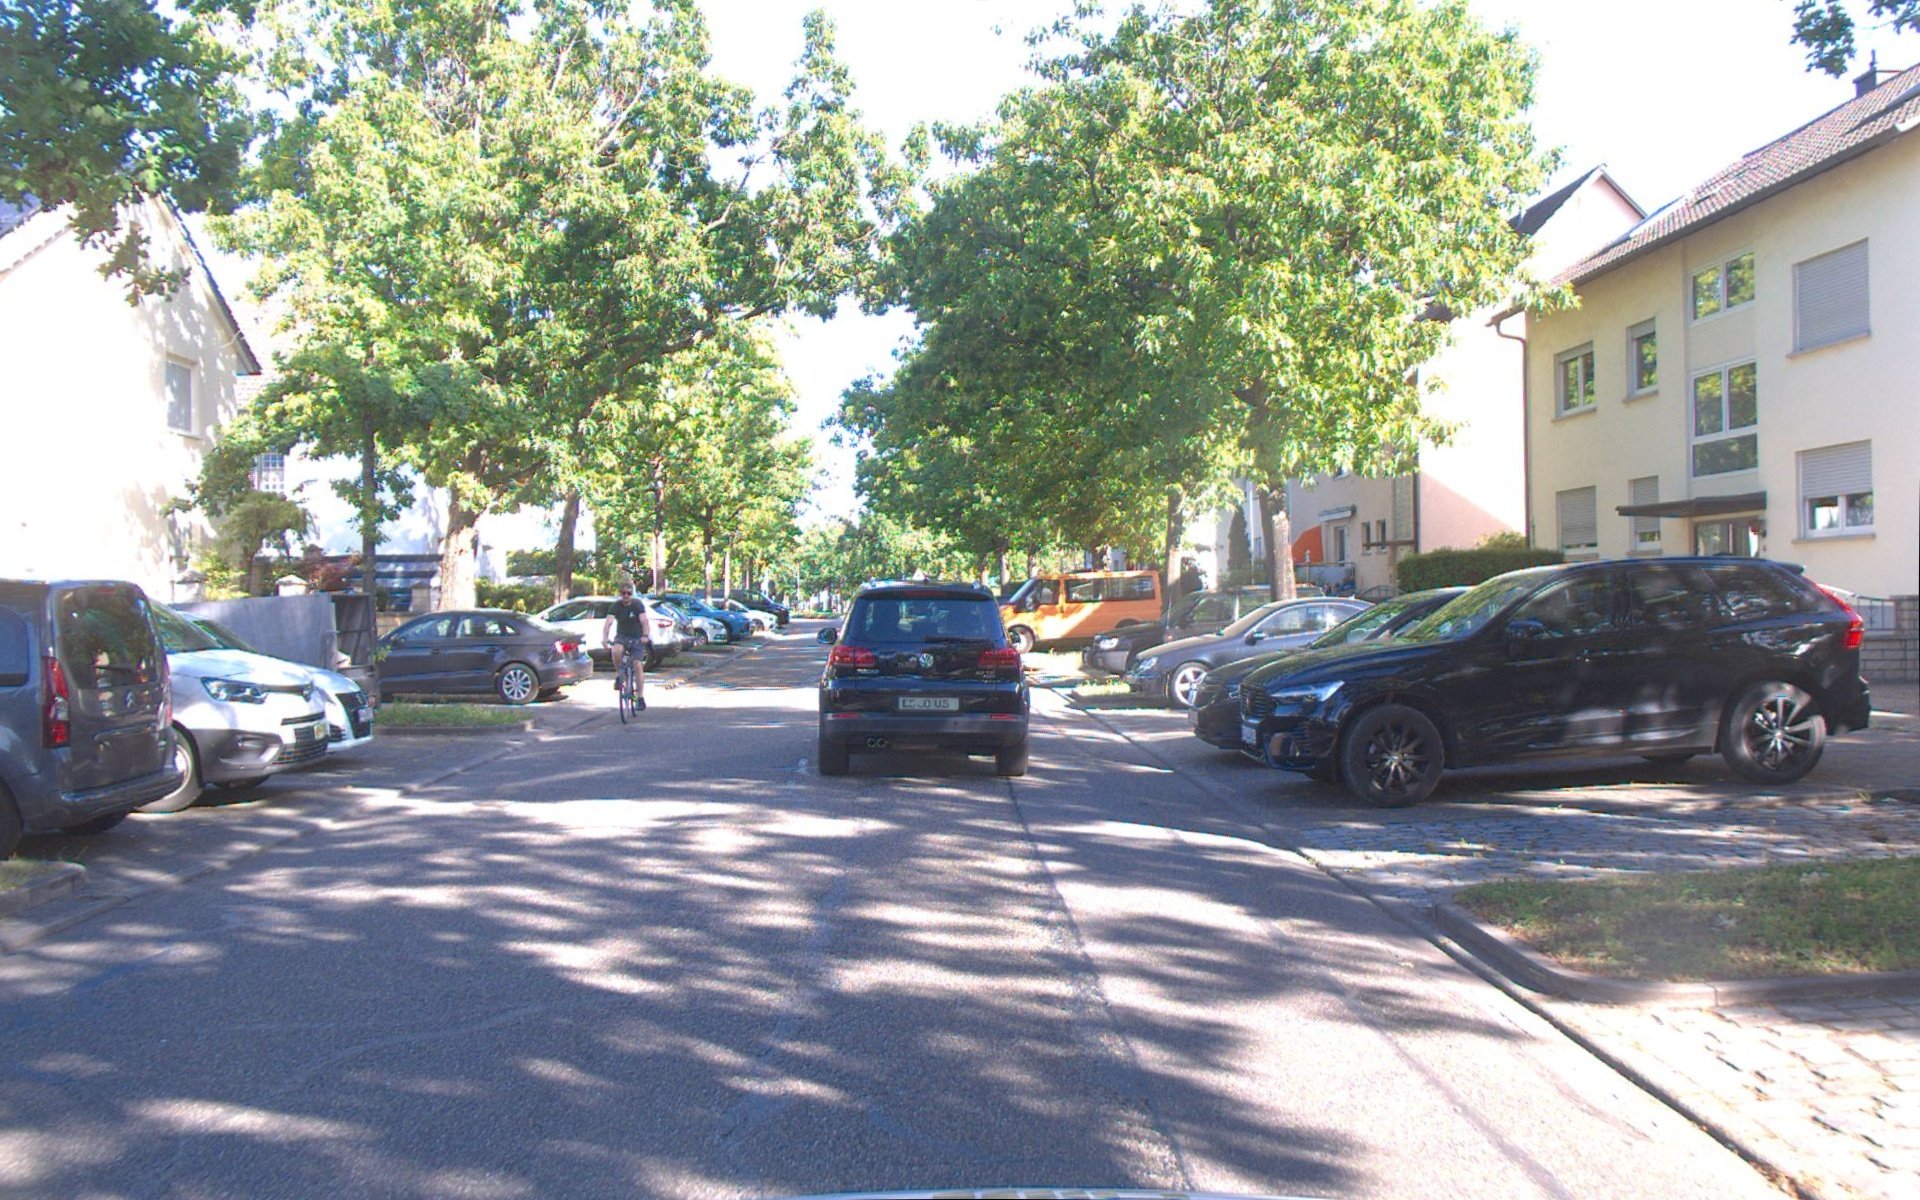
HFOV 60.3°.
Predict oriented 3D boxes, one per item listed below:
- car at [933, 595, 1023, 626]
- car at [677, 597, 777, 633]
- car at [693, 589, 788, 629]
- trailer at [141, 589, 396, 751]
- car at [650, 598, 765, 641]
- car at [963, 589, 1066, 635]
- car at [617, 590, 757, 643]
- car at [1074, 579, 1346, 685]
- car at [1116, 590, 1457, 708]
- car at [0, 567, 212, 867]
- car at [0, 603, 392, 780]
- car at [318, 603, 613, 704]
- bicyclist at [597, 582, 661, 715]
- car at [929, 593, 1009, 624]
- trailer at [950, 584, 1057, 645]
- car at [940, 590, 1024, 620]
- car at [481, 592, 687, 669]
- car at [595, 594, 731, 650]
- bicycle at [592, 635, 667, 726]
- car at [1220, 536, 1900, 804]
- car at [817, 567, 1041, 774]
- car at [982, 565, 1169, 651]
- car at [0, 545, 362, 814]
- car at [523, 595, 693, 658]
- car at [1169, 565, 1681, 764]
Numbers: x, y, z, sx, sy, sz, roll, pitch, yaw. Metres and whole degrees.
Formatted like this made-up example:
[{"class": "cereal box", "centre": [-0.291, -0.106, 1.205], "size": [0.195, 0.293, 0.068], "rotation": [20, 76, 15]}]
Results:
[{"class": "car", "centre": [0.869, 0.500, 82.058], "size": [4.261, 1.386, 1.872], "rotation": [-2, -1, -4]}, {"class": "car", "centre": [-10.150, 0.641, 72.361], "size": [4.191, 1.504, 1.767], "rotation": [0, 0, -4]}, {"class": "car", "centre": [-10.984, 0.444, 83.018], "size": [4.686, 1.950, 2.016], "rotation": [0, 0, -6]}, {"class": "trailer", "centre": [-7.688, 0.750, 18.529], "size": [2.189, 1.703, 1.475], "rotation": [-1, 0, 2]}, {"class": "car", "centre": [-9.440, 0.725, 62.011], "size": [4.099, 1.518, 1.646], "rotation": [-1, -1, -3]}, {"class": "car", "centre": [2.054, 0.435, 63.043], "size": [3.805, 1.542, 1.661], "rotation": [-1, 3, -3]}, {"class": "car", "centre": [-9.180, 0.543, 55.960], "size": [4.434, 1.659, 1.936], "rotation": [-1, 0, -3]}, {"class": "car", "centre": [4.208, 0.525, 28.271], "size": [4.252, 1.587, 1.866], "rotation": [-2, 0, -4]}, {"class": "car", "centre": [4.434, 0.648, 22.907], "size": [4.337, 1.354, 1.690], "rotation": [-3, 0, 0]}, {"class": "car", "centre": [-7.409, 0.672, 10.764], "size": [4.155, 1.801, 1.965], "rotation": [1, 0, -5]}, {"class": "car", "centre": [-7.710, 0.841, 15.894], "size": [3.907, 1.543, 1.689], "rotation": [-1, 0, -3]}, {"class": "car", "centre": [-7.673, 0.816, 25.924], "size": [4.126, 1.497, 1.689], "rotation": [0, 0, -3]}, {"class": "bicyclist", "centre": [-4.435, 0.636, 22.184], "size": [0.584, 1.703, 0.975], "rotation": [-3, 0, -1]}, {"class": "car", "centre": [0.472, 0.447, 89.737], "size": [4.192, 1.529, 1.795], "rotation": [-2, 0, -4]}, {"class": "trailer", "centre": [1.250, 0.416, 48.741], "size": [2.891, 1.693, 1.611], "rotation": [-1, 0, -9]}, {"class": "car", "centre": [1.108, 0.248, 84.916], "size": [4.192, 1.439, 1.795], "rotation": [-2, 0, -4]}, {"class": "car", "centre": [-8.183, 0.653, 36.295], "size": [4.102, 1.594, 1.791], "rotation": [1, 0, -1]}, {"class": "car", "centre": [-9.207, 0.681, 51.492], "size": [3.907, 1.623, 1.856], "rotation": [-1, -1, -3]}, {"class": "bicycle", "centre": [-4.409, 1.052, 22.176], "size": [0.584, 1.077, 1.986], "rotation": [-3, 0, -1]}, {"class": "car", "centre": [4.419, 0.489, 12.651], "size": [4.482, 1.675, 1.837], "rotation": [-3, 0, -3]}, {"class": "car", "centre": [-0.285, 0.578, 15.379], "size": [1.800, 1.665, 3.957], "rotation": [1, 0, -1]}, {"class": "car", "centre": [3.038, 0.209, 44.147], "size": [4.722, 2.120, 2.085], "rotation": [-1, 0, -3]}, {"class": "car", "centre": [-7.271, 0.631, 13.396], "size": [4.154, 1.978, 1.998], "rotation": [-1, -1, -5]}, {"class": "car", "centre": [-8.809, 0.652, 41.660], "size": [3.954, 1.448, 1.808], "rotation": [1, 0, -5]}, {"class": "car", "centre": [4.255, 0.559, 15.573], "size": [4.234, 1.556, 1.839], "rotation": [-3, 0, -3]}]
